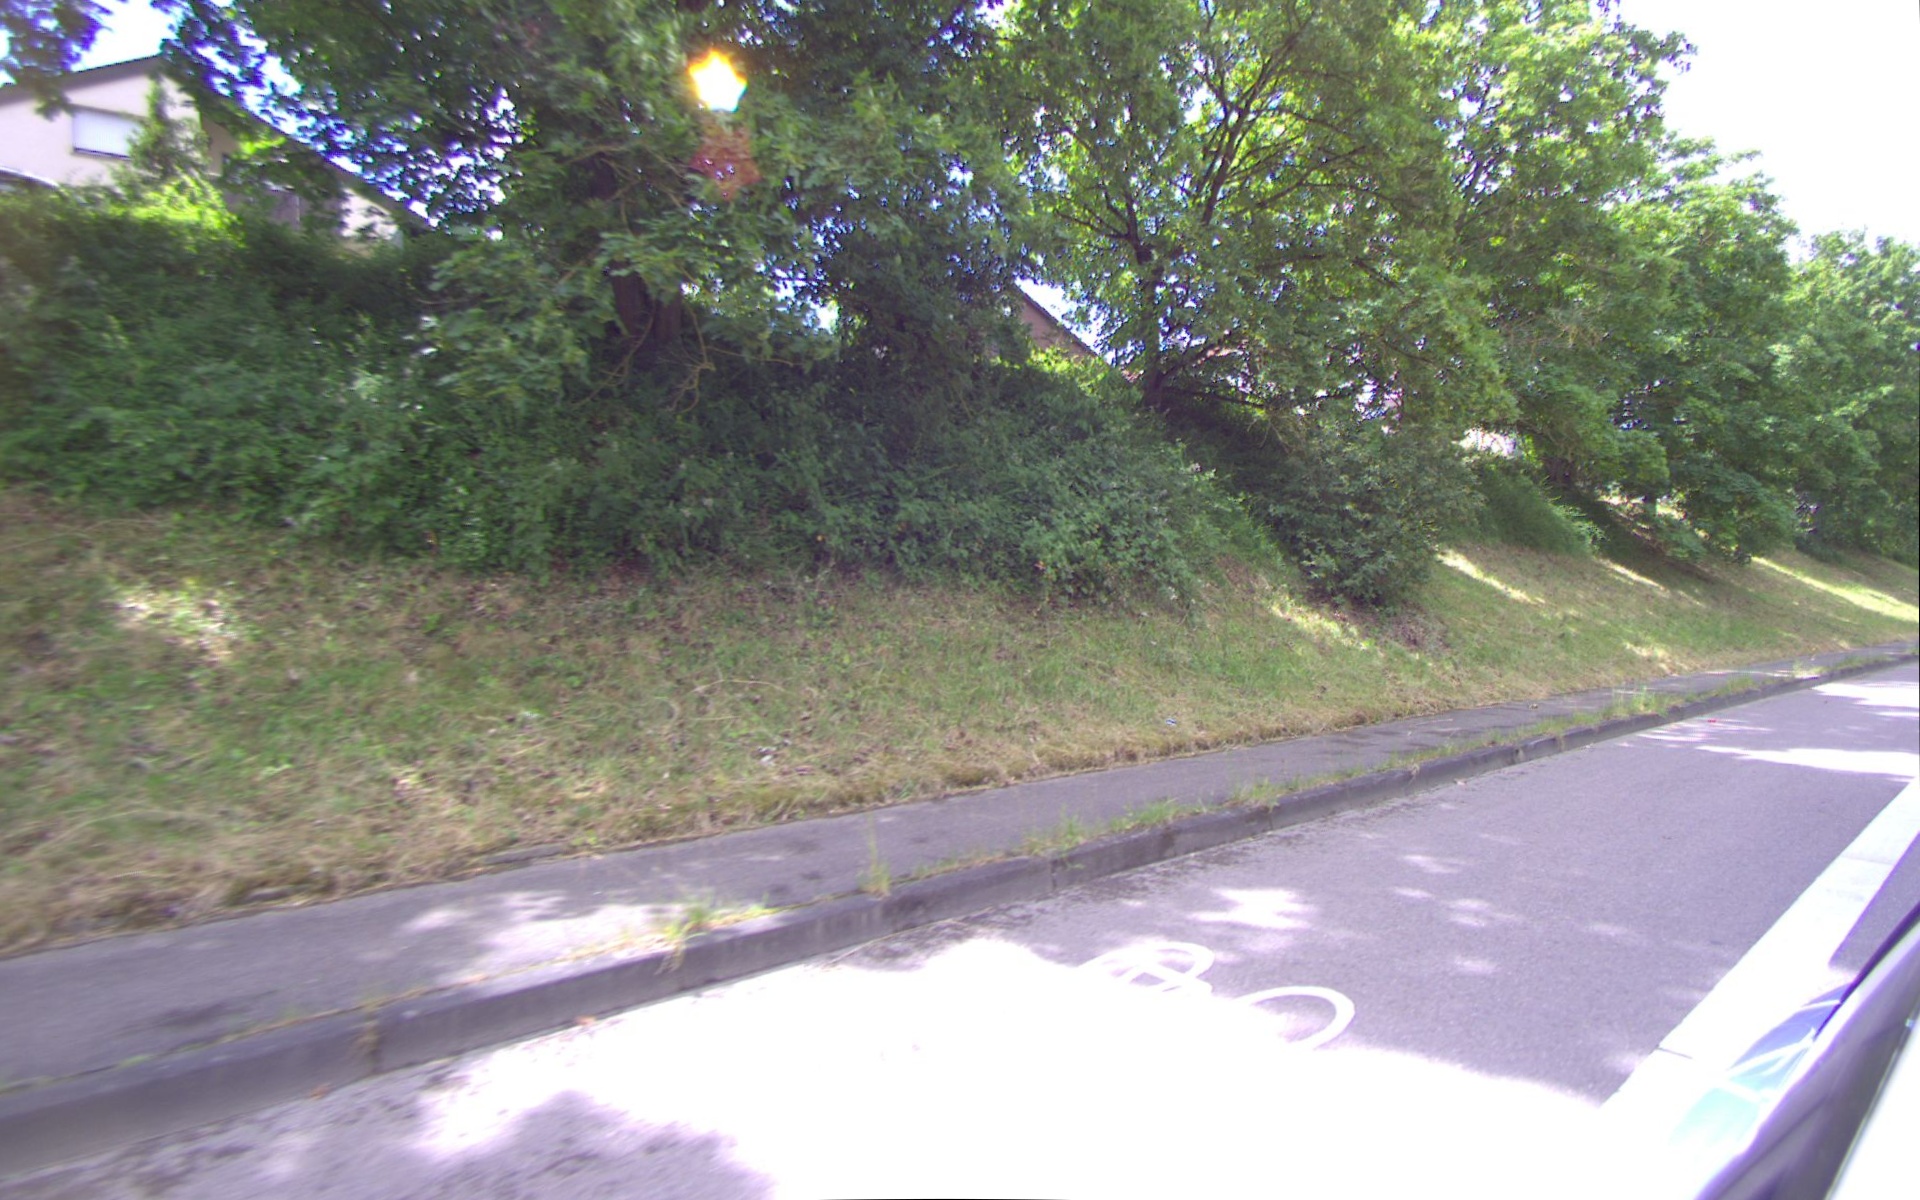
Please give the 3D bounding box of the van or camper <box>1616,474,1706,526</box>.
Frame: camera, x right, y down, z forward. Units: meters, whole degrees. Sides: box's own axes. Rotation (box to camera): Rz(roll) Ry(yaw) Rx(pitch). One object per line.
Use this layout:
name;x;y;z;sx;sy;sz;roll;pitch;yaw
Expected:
van or camper;35.002;-4.914;50.433;6.053;2.095;2.221;0;1;-40

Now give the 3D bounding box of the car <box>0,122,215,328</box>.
car;-10.905;-4.338;11.377;3.930;1.517;1.776;0;0;-43

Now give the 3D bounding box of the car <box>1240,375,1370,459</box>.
car;9.827;-5.104;28.714;3.971;1.708;1.647;0;0;-40
